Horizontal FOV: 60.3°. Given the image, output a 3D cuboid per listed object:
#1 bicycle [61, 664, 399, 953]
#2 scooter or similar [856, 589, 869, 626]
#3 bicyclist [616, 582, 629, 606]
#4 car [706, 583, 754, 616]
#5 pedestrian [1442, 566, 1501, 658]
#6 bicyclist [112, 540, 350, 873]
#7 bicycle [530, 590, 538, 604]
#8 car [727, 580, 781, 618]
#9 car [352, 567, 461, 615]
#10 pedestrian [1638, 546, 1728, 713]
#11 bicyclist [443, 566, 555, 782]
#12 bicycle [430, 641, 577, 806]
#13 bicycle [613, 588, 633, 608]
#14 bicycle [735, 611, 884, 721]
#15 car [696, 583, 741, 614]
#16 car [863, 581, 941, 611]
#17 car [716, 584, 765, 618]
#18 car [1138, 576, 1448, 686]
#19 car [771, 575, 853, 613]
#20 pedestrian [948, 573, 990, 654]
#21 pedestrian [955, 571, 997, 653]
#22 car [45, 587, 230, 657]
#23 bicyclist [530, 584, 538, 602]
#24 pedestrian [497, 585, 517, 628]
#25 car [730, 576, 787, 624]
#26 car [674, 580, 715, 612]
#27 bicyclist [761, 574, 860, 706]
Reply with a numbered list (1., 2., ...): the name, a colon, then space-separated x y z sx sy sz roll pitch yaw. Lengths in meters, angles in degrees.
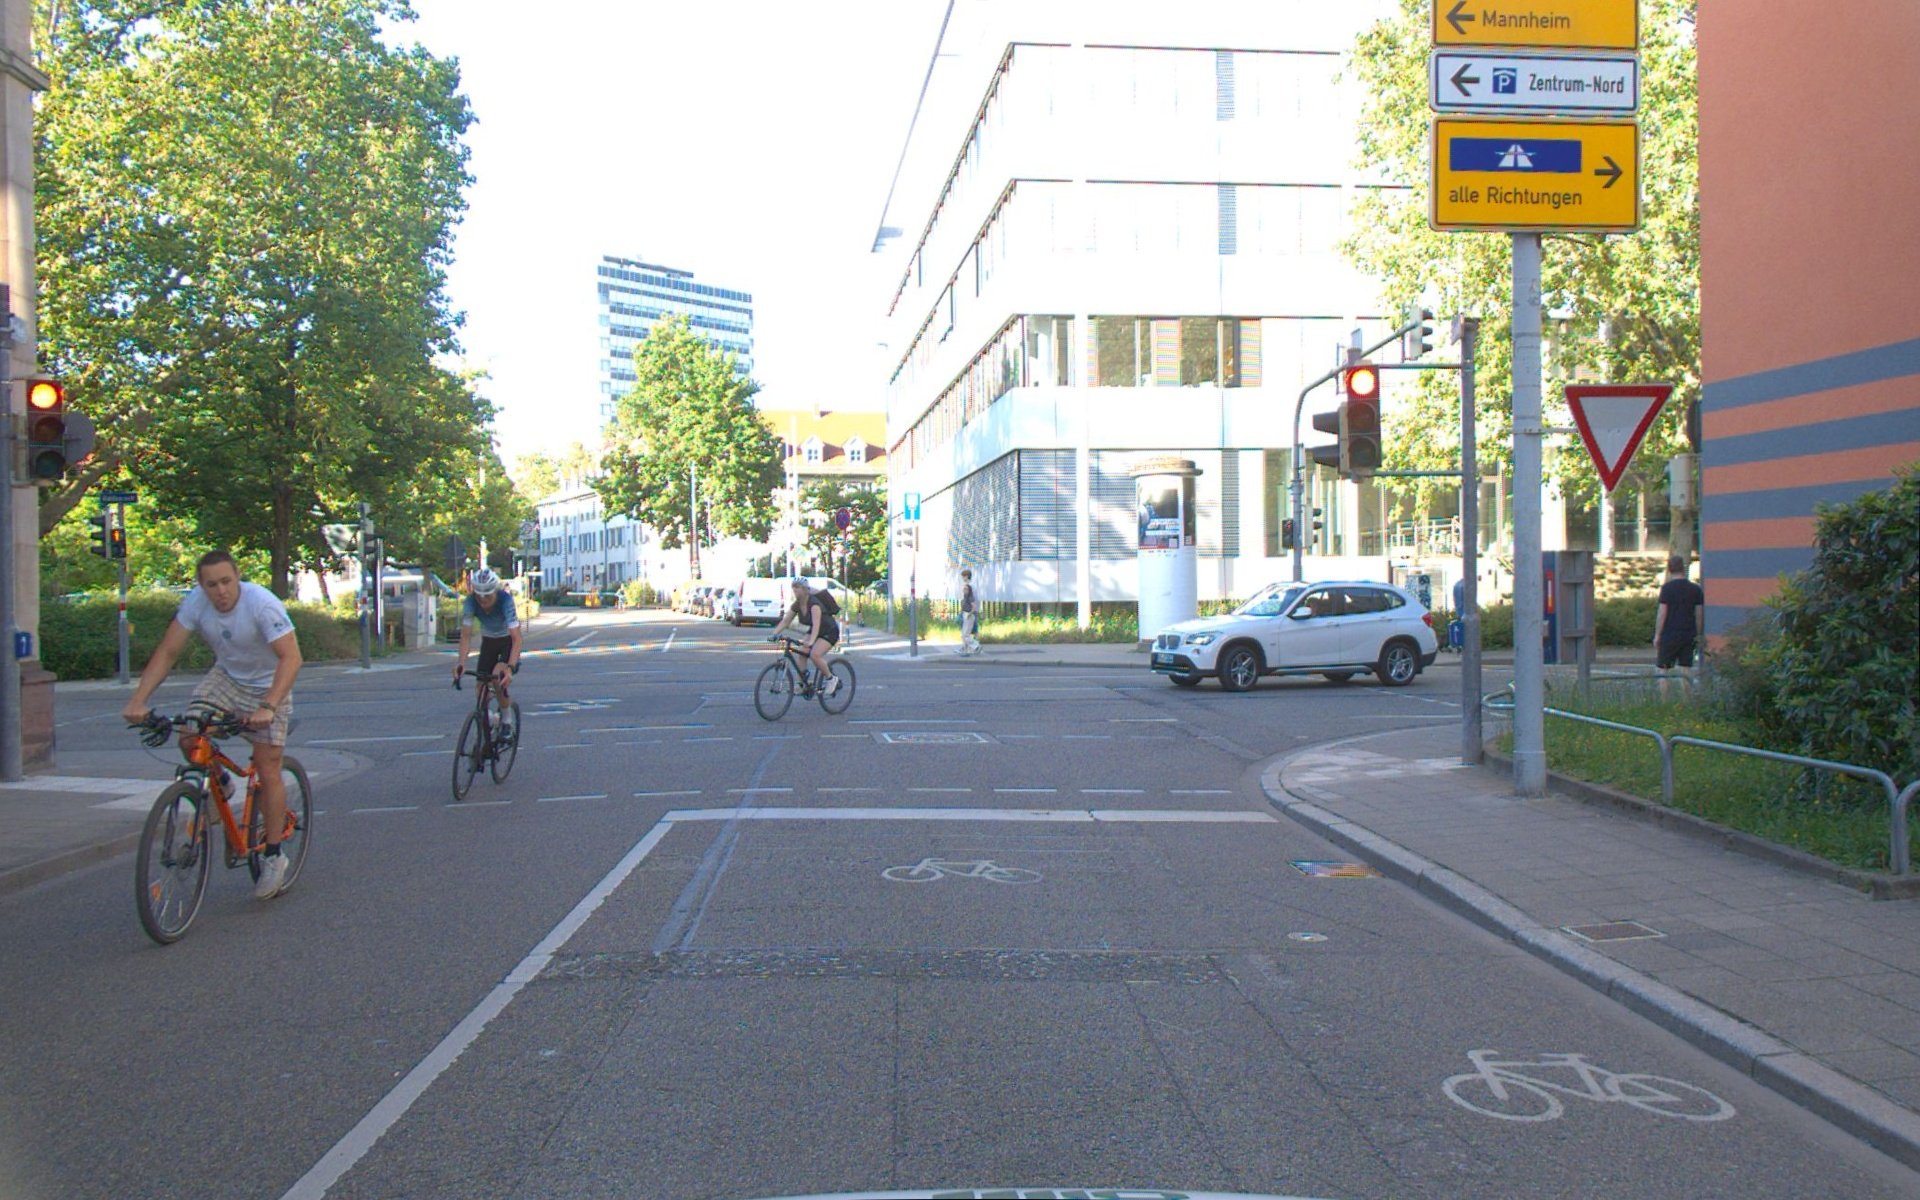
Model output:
1. bicycle: -3.565 0.961 8.296 0.612 1.172 1.971 -1 0 7
2. scooter or similar: -3.430 0.262 58.241 0.429 1.278 1.418 -1 0 -5
3. bicyclist: -19.998 -0.369 98.081 0.578 1.421 0.748 -1 0 4
4. car: -11.310 -0.018 81.089 1.959 1.525 4.272 1 0 -13
5. pedestrian: 10.448 0.247 33.771 0.897 1.847 0.760 1 -1 -9
6. bicyclist: -3.588 0.496 8.206 0.687 1.549 0.919 -1 0 7
7. bicycle: -34.920 -0.233 135.558 0.605 1.172 1.961 -1 0 -16
8. car: -8.871 -0.026 70.907 1.958 1.525 4.639 1 0 -11
9. car: -24.965 -0.395 74.686 4.363 2.049 1.995 1 0 -10
10. pedestrian: 8.181 0.326 18.724 0.713 1.842 0.691 1 -1 -42
11. bicyclist: -3.645 0.564 13.124 0.612 1.657 0.826 -1 0 2
12. bicycle: -3.631 0.949 13.299 0.612 1.172 1.784 -1 0 2
13. bicycle: -19.988 -0.126 98.099 0.578 1.172 1.971 -1 0 4
14. bicycle: -1.727 0.735 19.176 0.616 1.172 1.773 -1 1 42
15. car: -12.554 -0.061 85.794 1.959 1.525 4.637 1 0 -13
16. car: -3.678 -0.250 104.729 4.563 1.755 1.991 1 0 -17
17. car: -10.197 0.051 76.658 1.958 1.525 4.639 1 0 -11
18. car: 4.951 0.416 24.620 4.291 1.541 1.709 0 0 -20
19. car: -9.203 -0.364 102.802 4.718 2.196 1.990 1 0 -18
20. pedestrian: 0.205 0.292 36.422 0.749 1.749 0.648 1 -1 18
21. pedestrian: 0.362 0.261 37.299 0.749 1.826 0.648 1 -1 18
22. car: -18.368 0.486 37.069 3.347 1.483 1.646 1 0 -11
23. bicyclist: -34.911 -0.557 135.519 0.605 1.498 0.737 -1 0 -16
24. pedestrian: -17.107 0.234 62.460 0.688 1.614 0.634 1 -1 -16
25. car: -7.918 0.009 64.708 1.957 1.755 4.641 1 0 -10
26. car: -15.387 -0.224 95.610 1.960 1.755 4.635 1 0 -14
27. bicyclist: -1.727 0.446 19.179 0.616 1.471 0.968 -1 0 42
